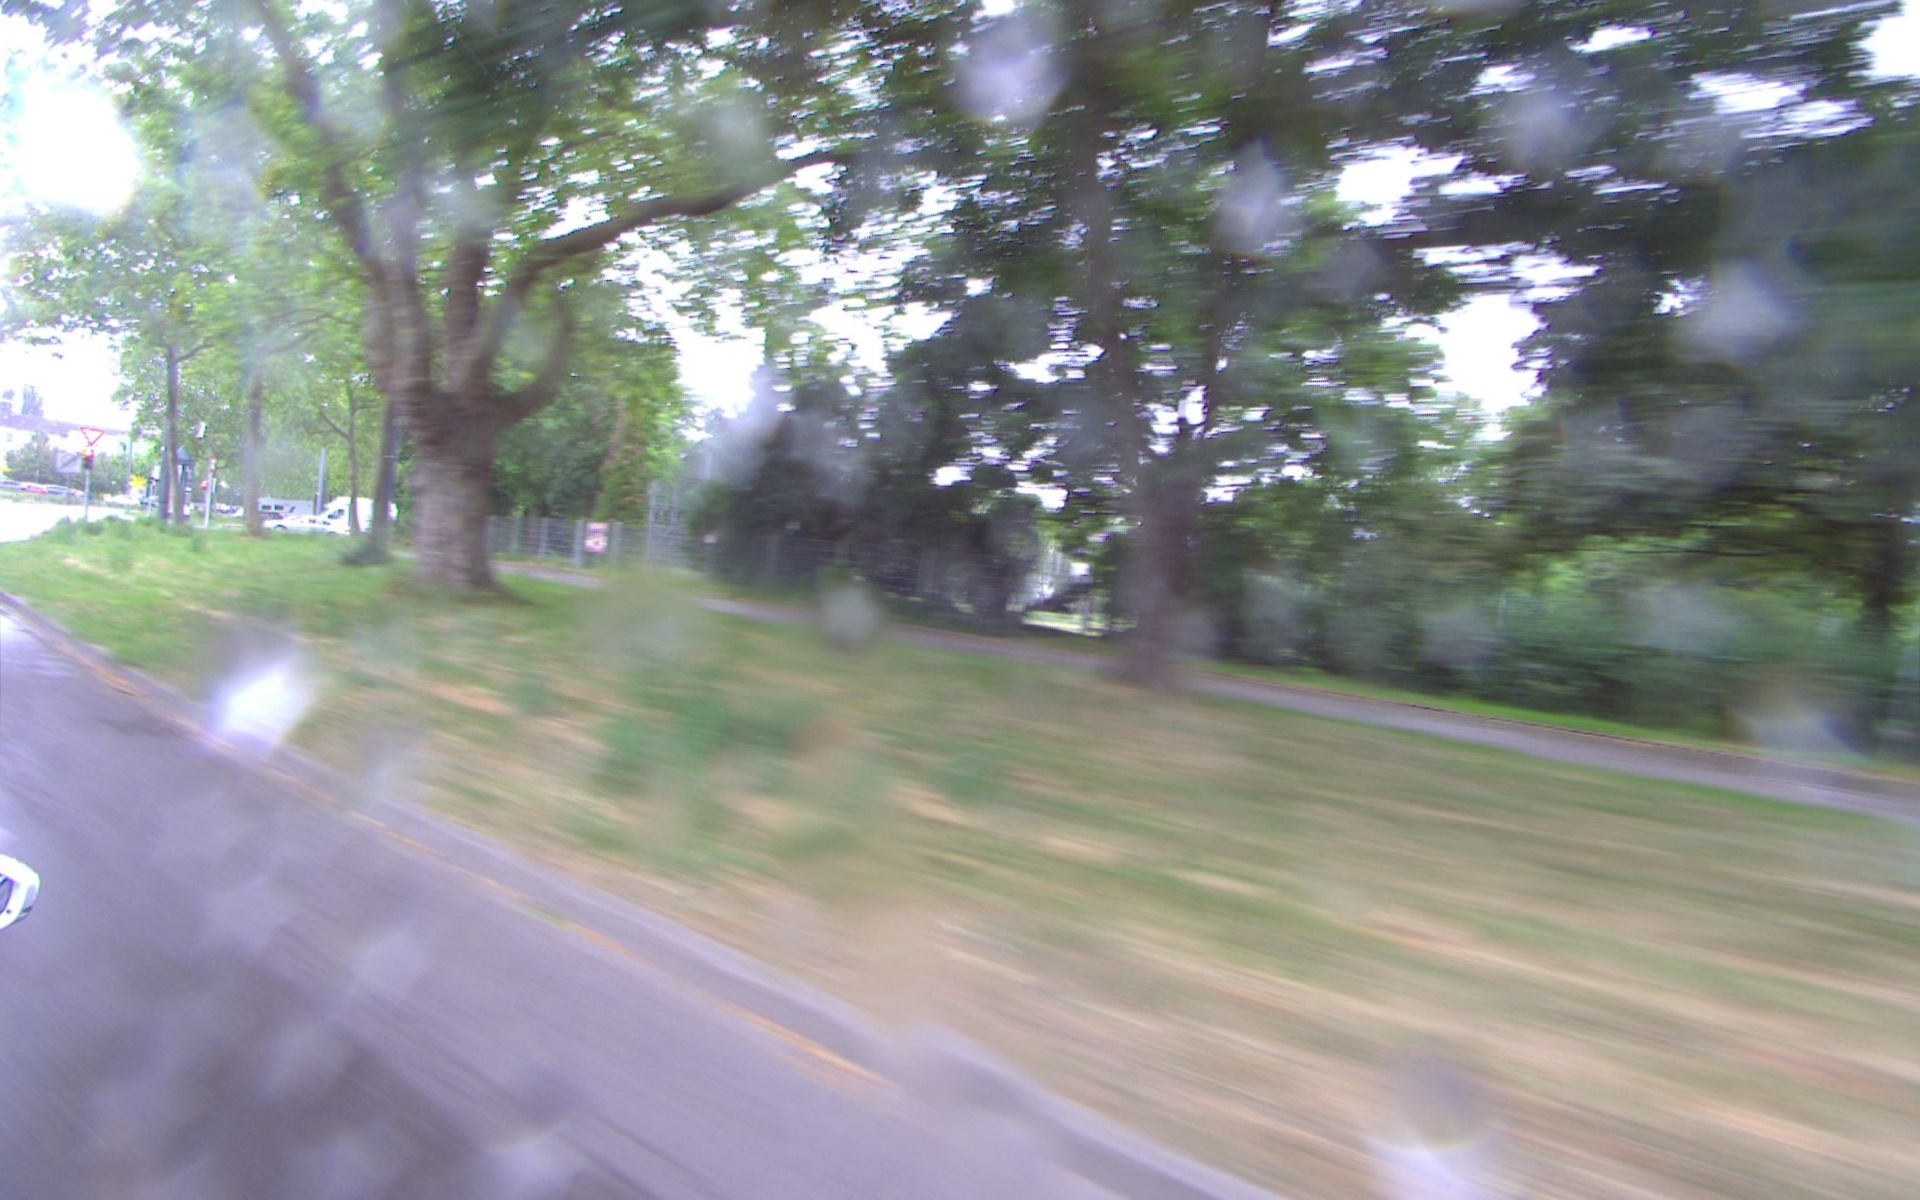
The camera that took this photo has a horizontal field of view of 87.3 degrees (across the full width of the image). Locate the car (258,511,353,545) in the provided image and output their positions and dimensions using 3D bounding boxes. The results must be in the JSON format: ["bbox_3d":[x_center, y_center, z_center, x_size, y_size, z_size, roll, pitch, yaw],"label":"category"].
[{"bbox_3d":[-39.639,-4.348,61.007,1.623,1.407,4.500,7,0,44],"label":"car"}]

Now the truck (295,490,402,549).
[{"bbox_3d":[-39.629,-5.186,65.314,1.955,3.097,5.454,7,1,44],"label":"truck"}]

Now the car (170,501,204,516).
[{"bbox_3d":[-120.175,-14.226,156.429,4.110,1.884,1.657,5,1,-36],"label":"car"}]

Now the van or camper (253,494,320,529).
[{"bbox_3d":[-69.419,-9.113,103.809,5.172,2.730,2.229,8,1,-25],"label":"van or camper"}]

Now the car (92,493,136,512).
[{"bbox_3d":[-109.362,-12.551,130.063,1.651,1.884,4.124,7,1,43],"label":"car"}]
